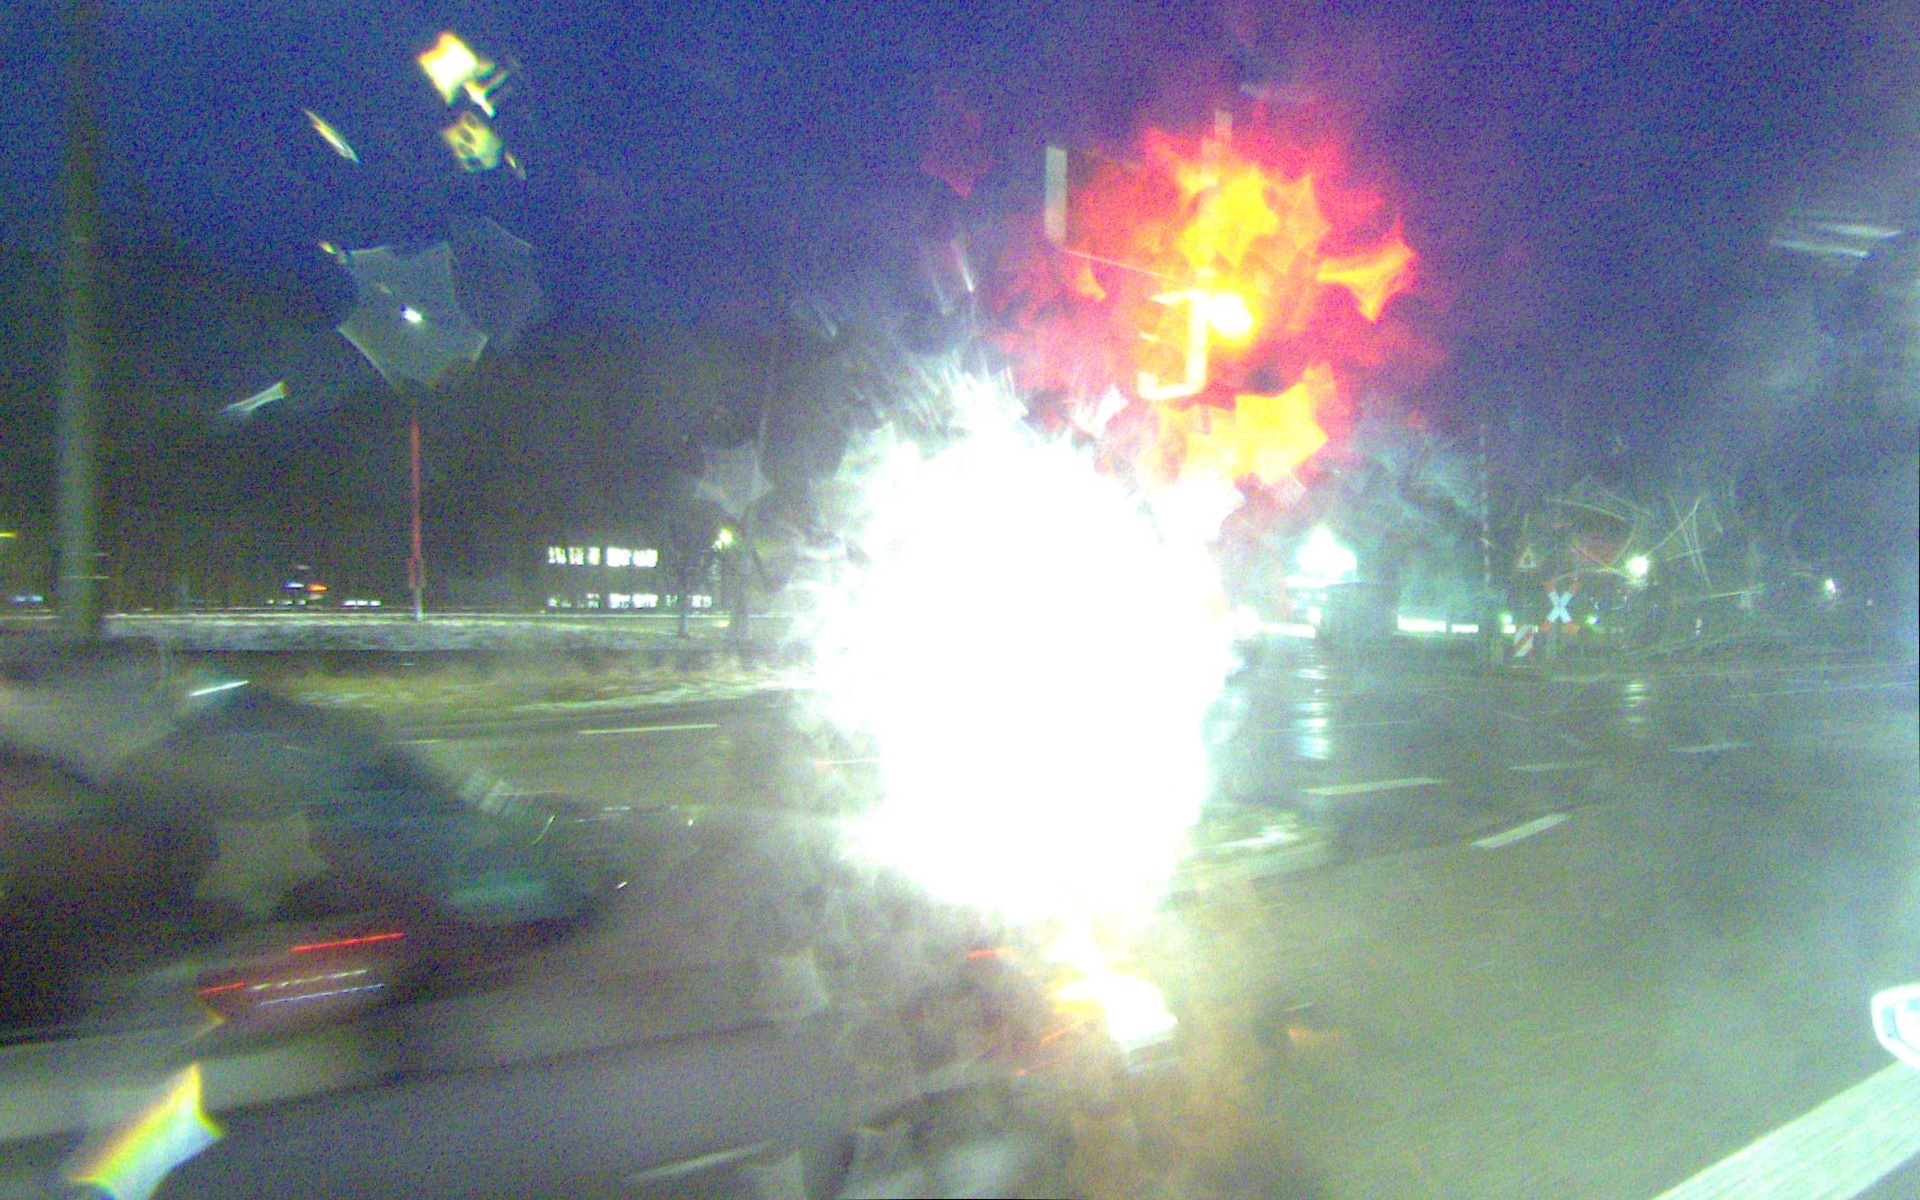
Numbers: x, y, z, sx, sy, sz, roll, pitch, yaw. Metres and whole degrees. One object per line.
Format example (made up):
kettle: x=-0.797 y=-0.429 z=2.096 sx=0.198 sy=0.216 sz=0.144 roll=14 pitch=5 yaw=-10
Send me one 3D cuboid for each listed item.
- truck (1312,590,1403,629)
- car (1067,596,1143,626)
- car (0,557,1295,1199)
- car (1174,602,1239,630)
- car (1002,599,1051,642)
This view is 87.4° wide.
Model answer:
truck: x=25.153 y=0.593 z=63.472 sx=5.947 sy=2.302 sz=1.985 roll=1 pitch=1 yaw=-29
car: x=7.758 y=0.594 z=53.535 sx=3.963 sy=1.539 sz=1.709 roll=1 pitch=1 yaw=-37
car: x=-1.645 y=0.725 z=1.780 sx=4.382 sy=1.531 sz=1.776 roll=1 pitch=-1 yaw=-29
car: x=14.512 y=0.922 z=58.985 sx=3.969 sy=1.539 sz=1.706 roll=1 pitch=1 yaw=-41
car: x=2.734 y=0.776 z=40.408 sx=1.485 sy=1.538 sz=4.376 roll=2 pitch=1 yaw=10
